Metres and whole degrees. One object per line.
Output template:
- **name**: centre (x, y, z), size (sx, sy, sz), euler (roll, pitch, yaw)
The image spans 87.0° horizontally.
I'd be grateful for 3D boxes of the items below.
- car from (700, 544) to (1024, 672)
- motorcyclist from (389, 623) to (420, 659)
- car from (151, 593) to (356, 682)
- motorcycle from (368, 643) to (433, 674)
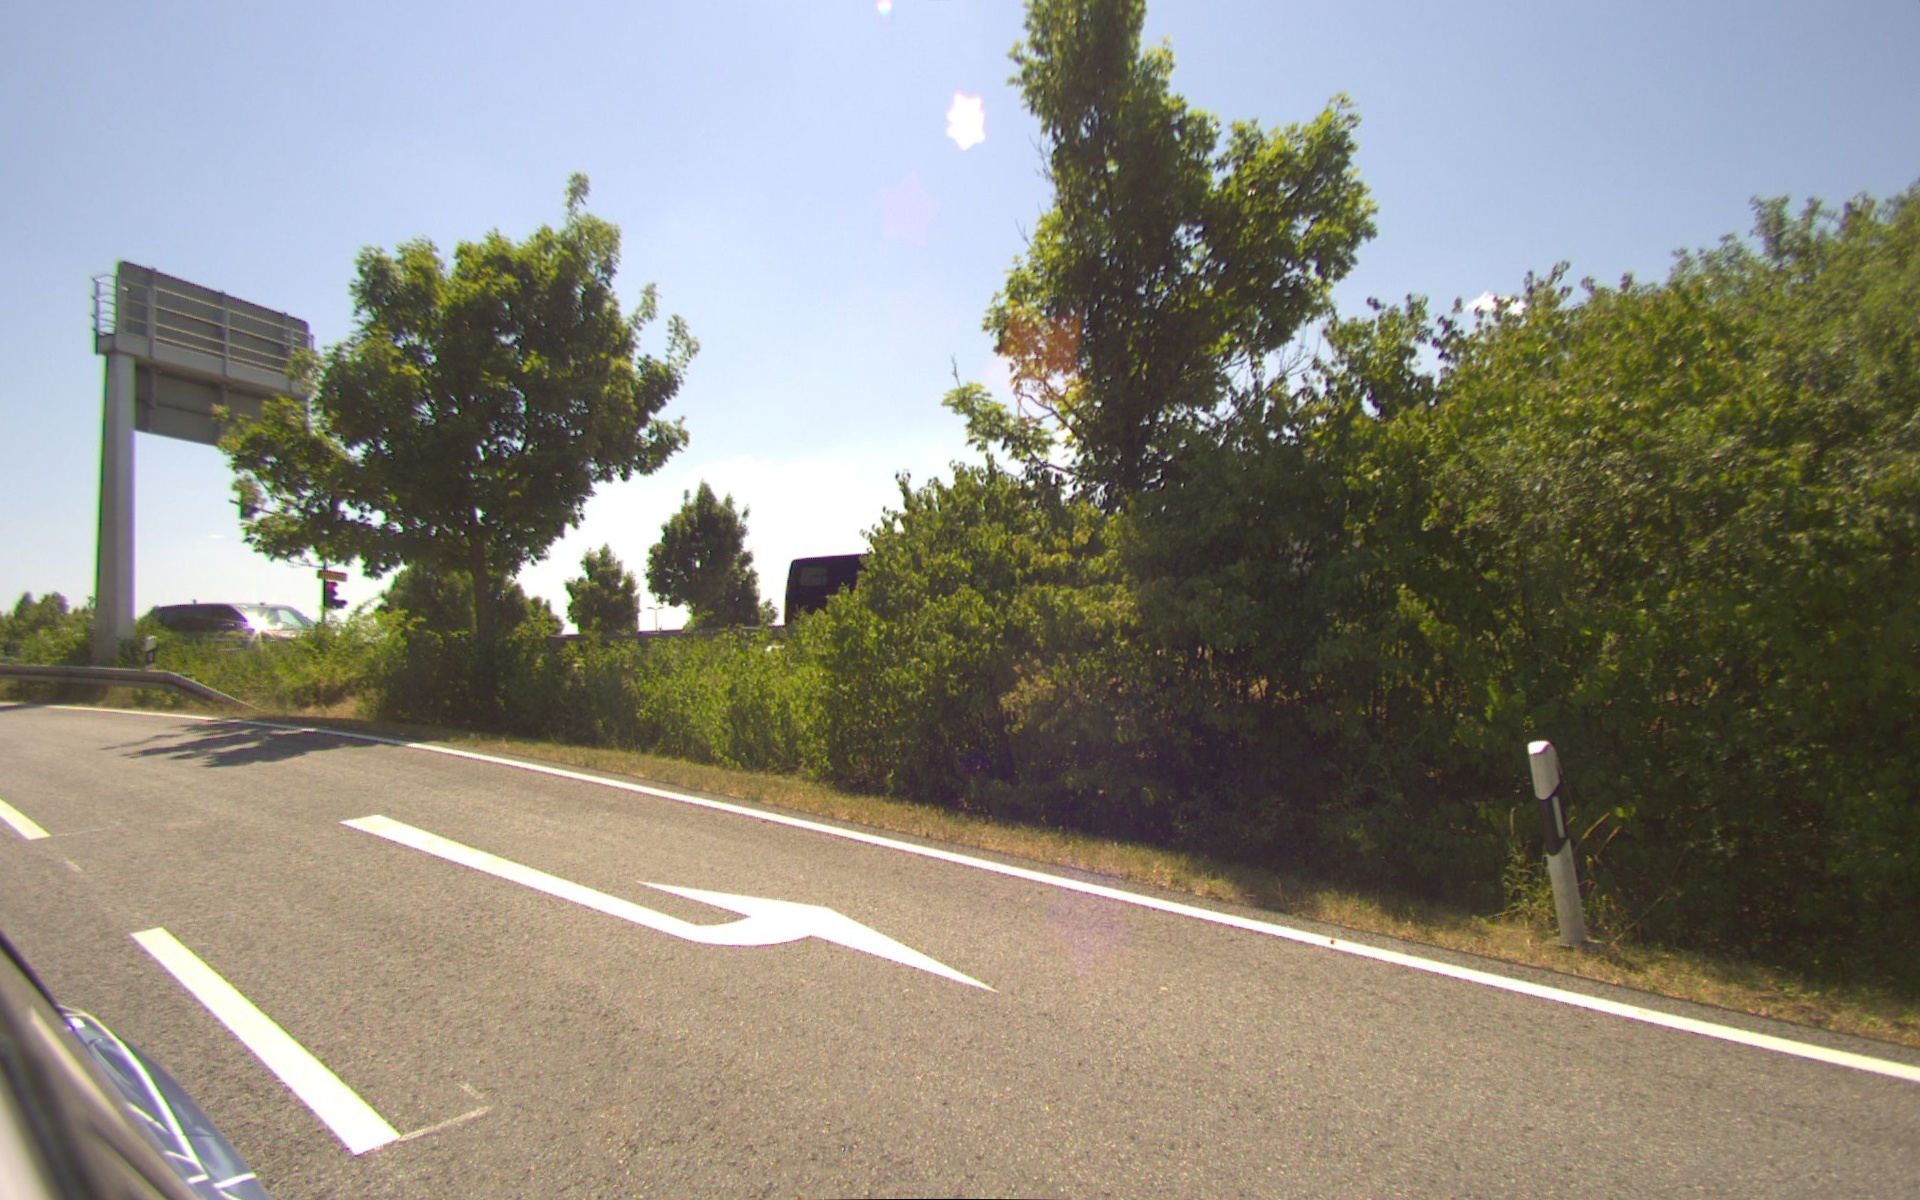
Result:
- **car**: centre (-1.754, 0.162, 17.641), size (5.384, 1.952, 2.106), euler (-1, -1, 27)
- **motorcyclist**: centre (-20.400, 1.513, 37.191), size (0.716, 1.313, 0.674), euler (-2, -5, 11)
- **car**: centre (-16.557, 0.953, 23.702), size (4.508, 1.934, 1.928), euler (-2, -5, 26)
- **motorcycle**: centre (-20.522, 2.164, 37.135), size (2.260, 1.088, 0.562), euler (-2, -4, 12)
